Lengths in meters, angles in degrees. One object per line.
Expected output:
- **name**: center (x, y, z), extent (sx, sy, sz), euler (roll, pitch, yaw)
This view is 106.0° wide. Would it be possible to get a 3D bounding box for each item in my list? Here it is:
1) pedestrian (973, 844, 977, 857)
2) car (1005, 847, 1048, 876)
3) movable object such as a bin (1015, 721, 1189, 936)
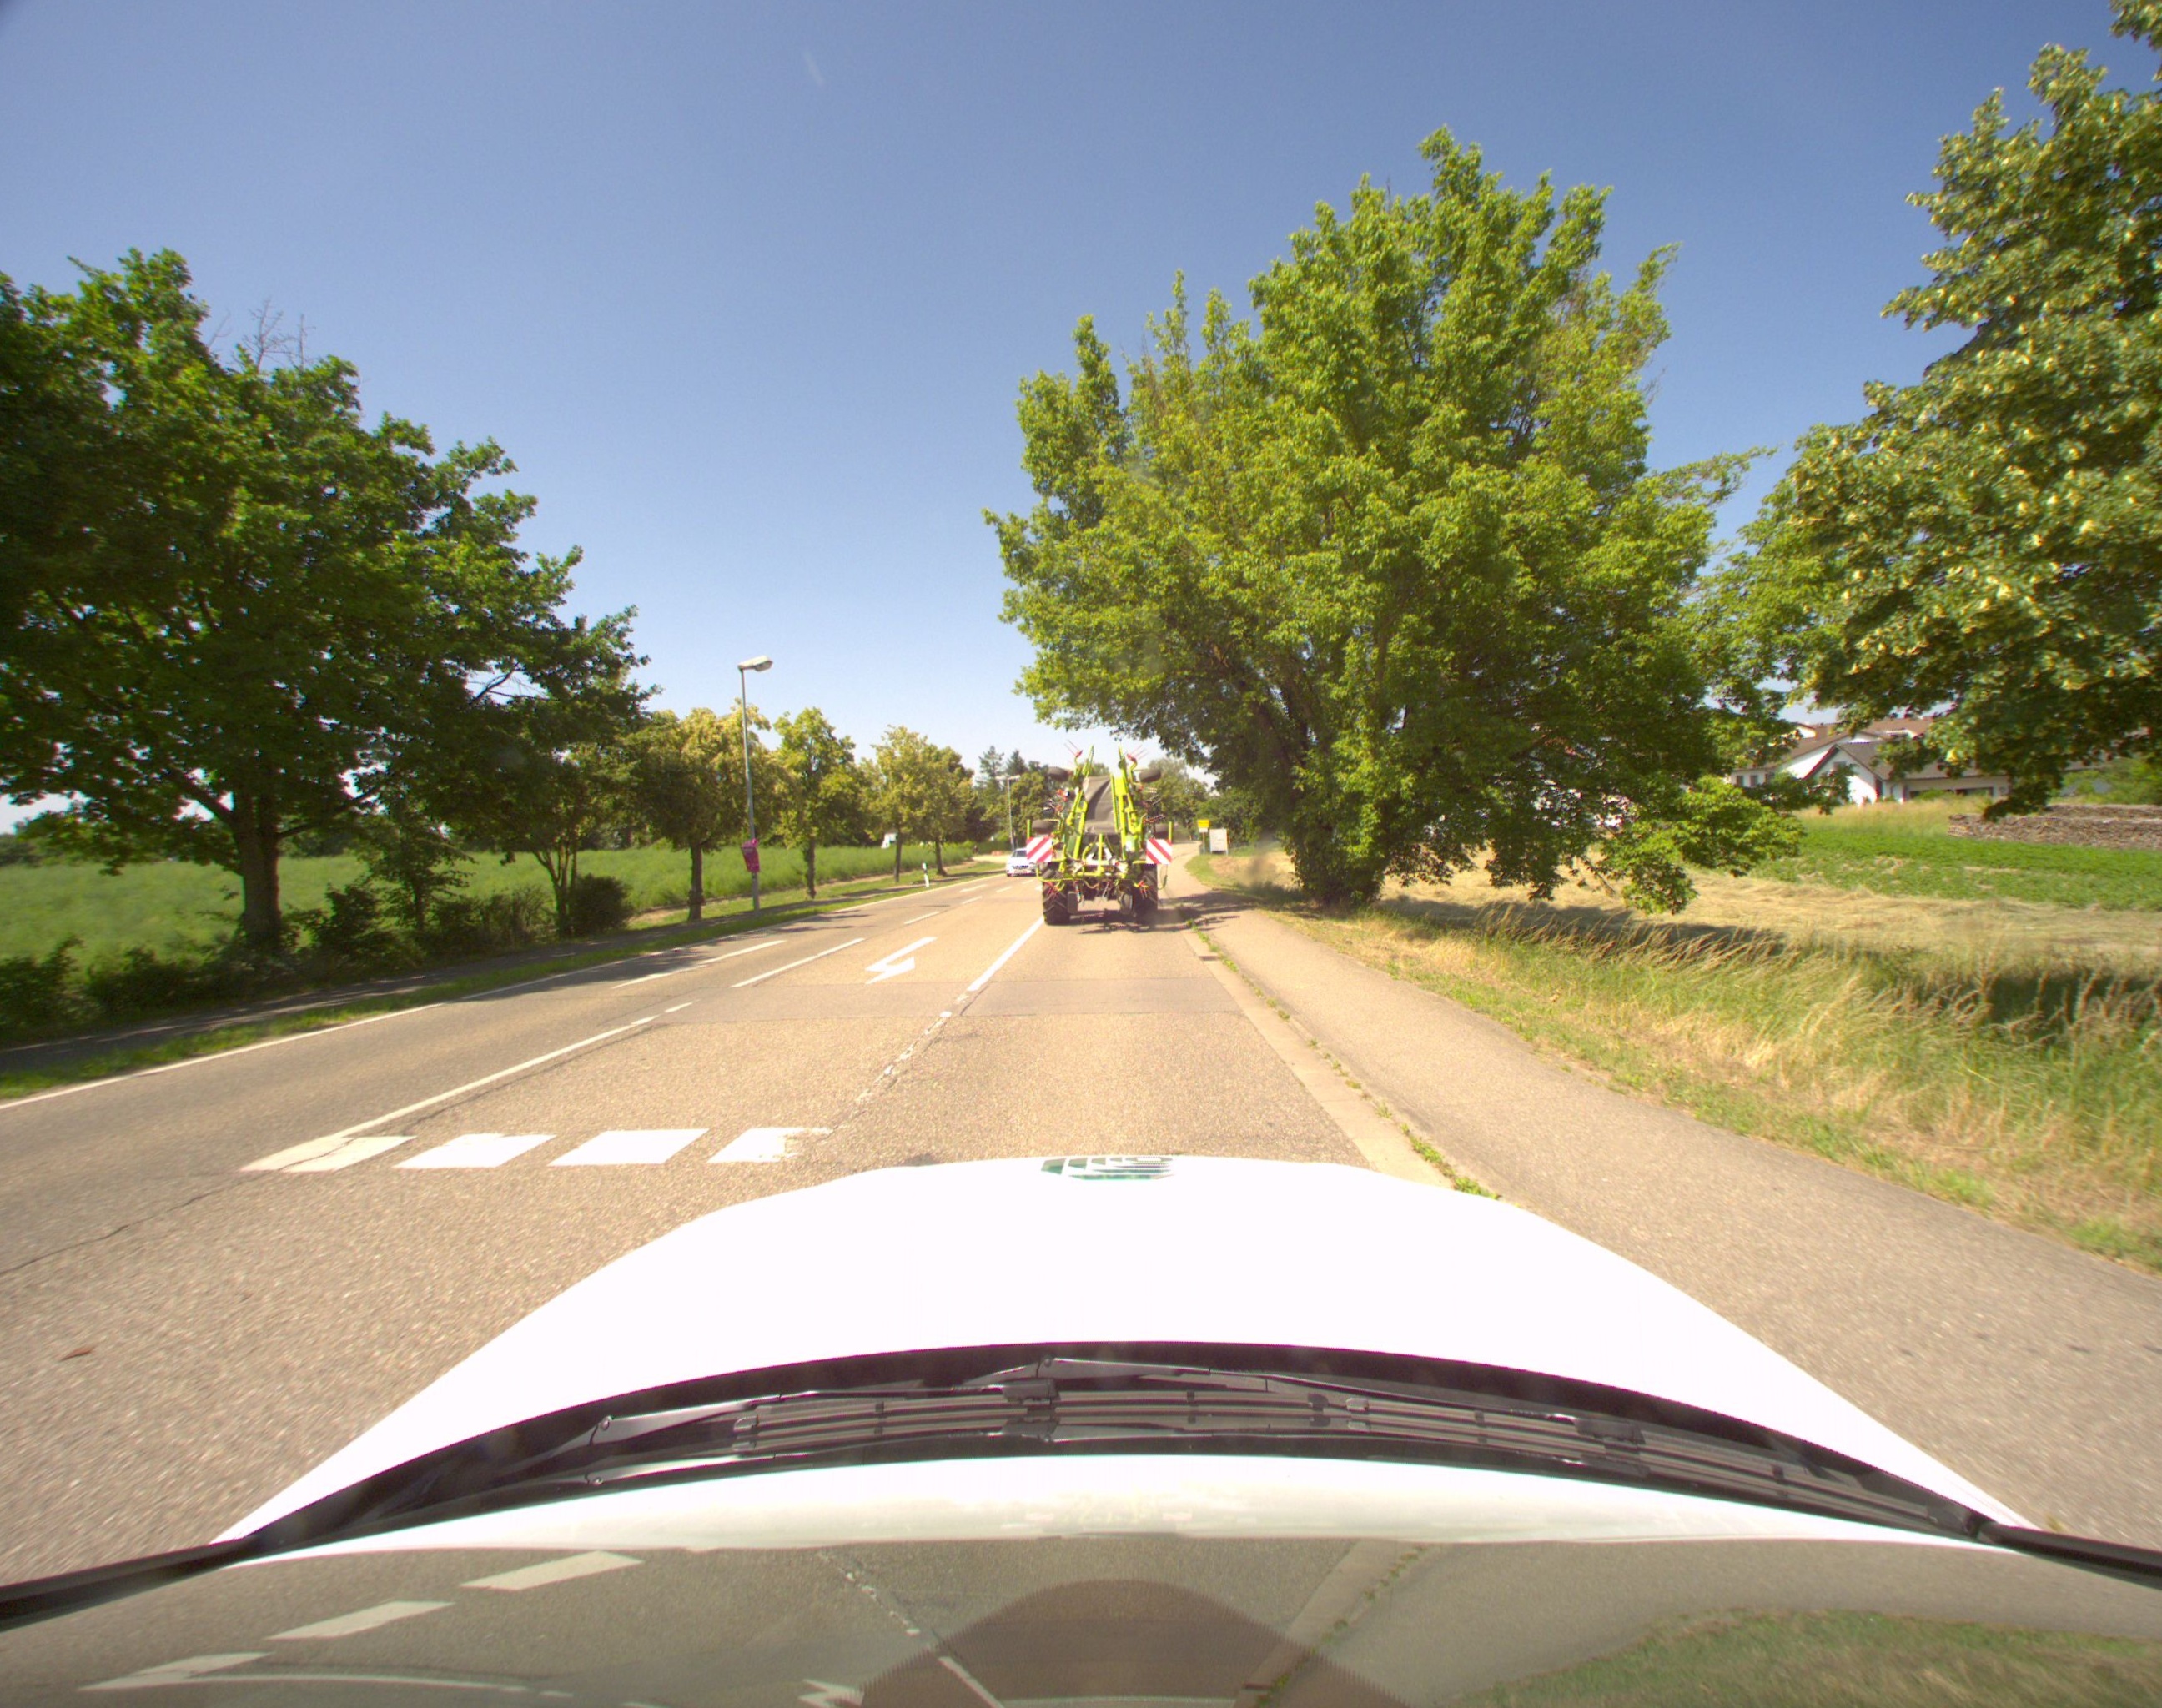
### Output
- **pedestrian**: center (-14.361, -0.456, 110.318), extent (0.547, 1.716, 0.676), euler (0, 2, 0)
- **car**: center (-2.914, 0.363, 43.931), extent (1.640, 1.433, 3.904), euler (0, 1, 6)
- **movable object such as a bin**: center (0.423, -0.462, 18.488), extent (2.843, 3.541, 9.702), euler (-1, 0, 1)
